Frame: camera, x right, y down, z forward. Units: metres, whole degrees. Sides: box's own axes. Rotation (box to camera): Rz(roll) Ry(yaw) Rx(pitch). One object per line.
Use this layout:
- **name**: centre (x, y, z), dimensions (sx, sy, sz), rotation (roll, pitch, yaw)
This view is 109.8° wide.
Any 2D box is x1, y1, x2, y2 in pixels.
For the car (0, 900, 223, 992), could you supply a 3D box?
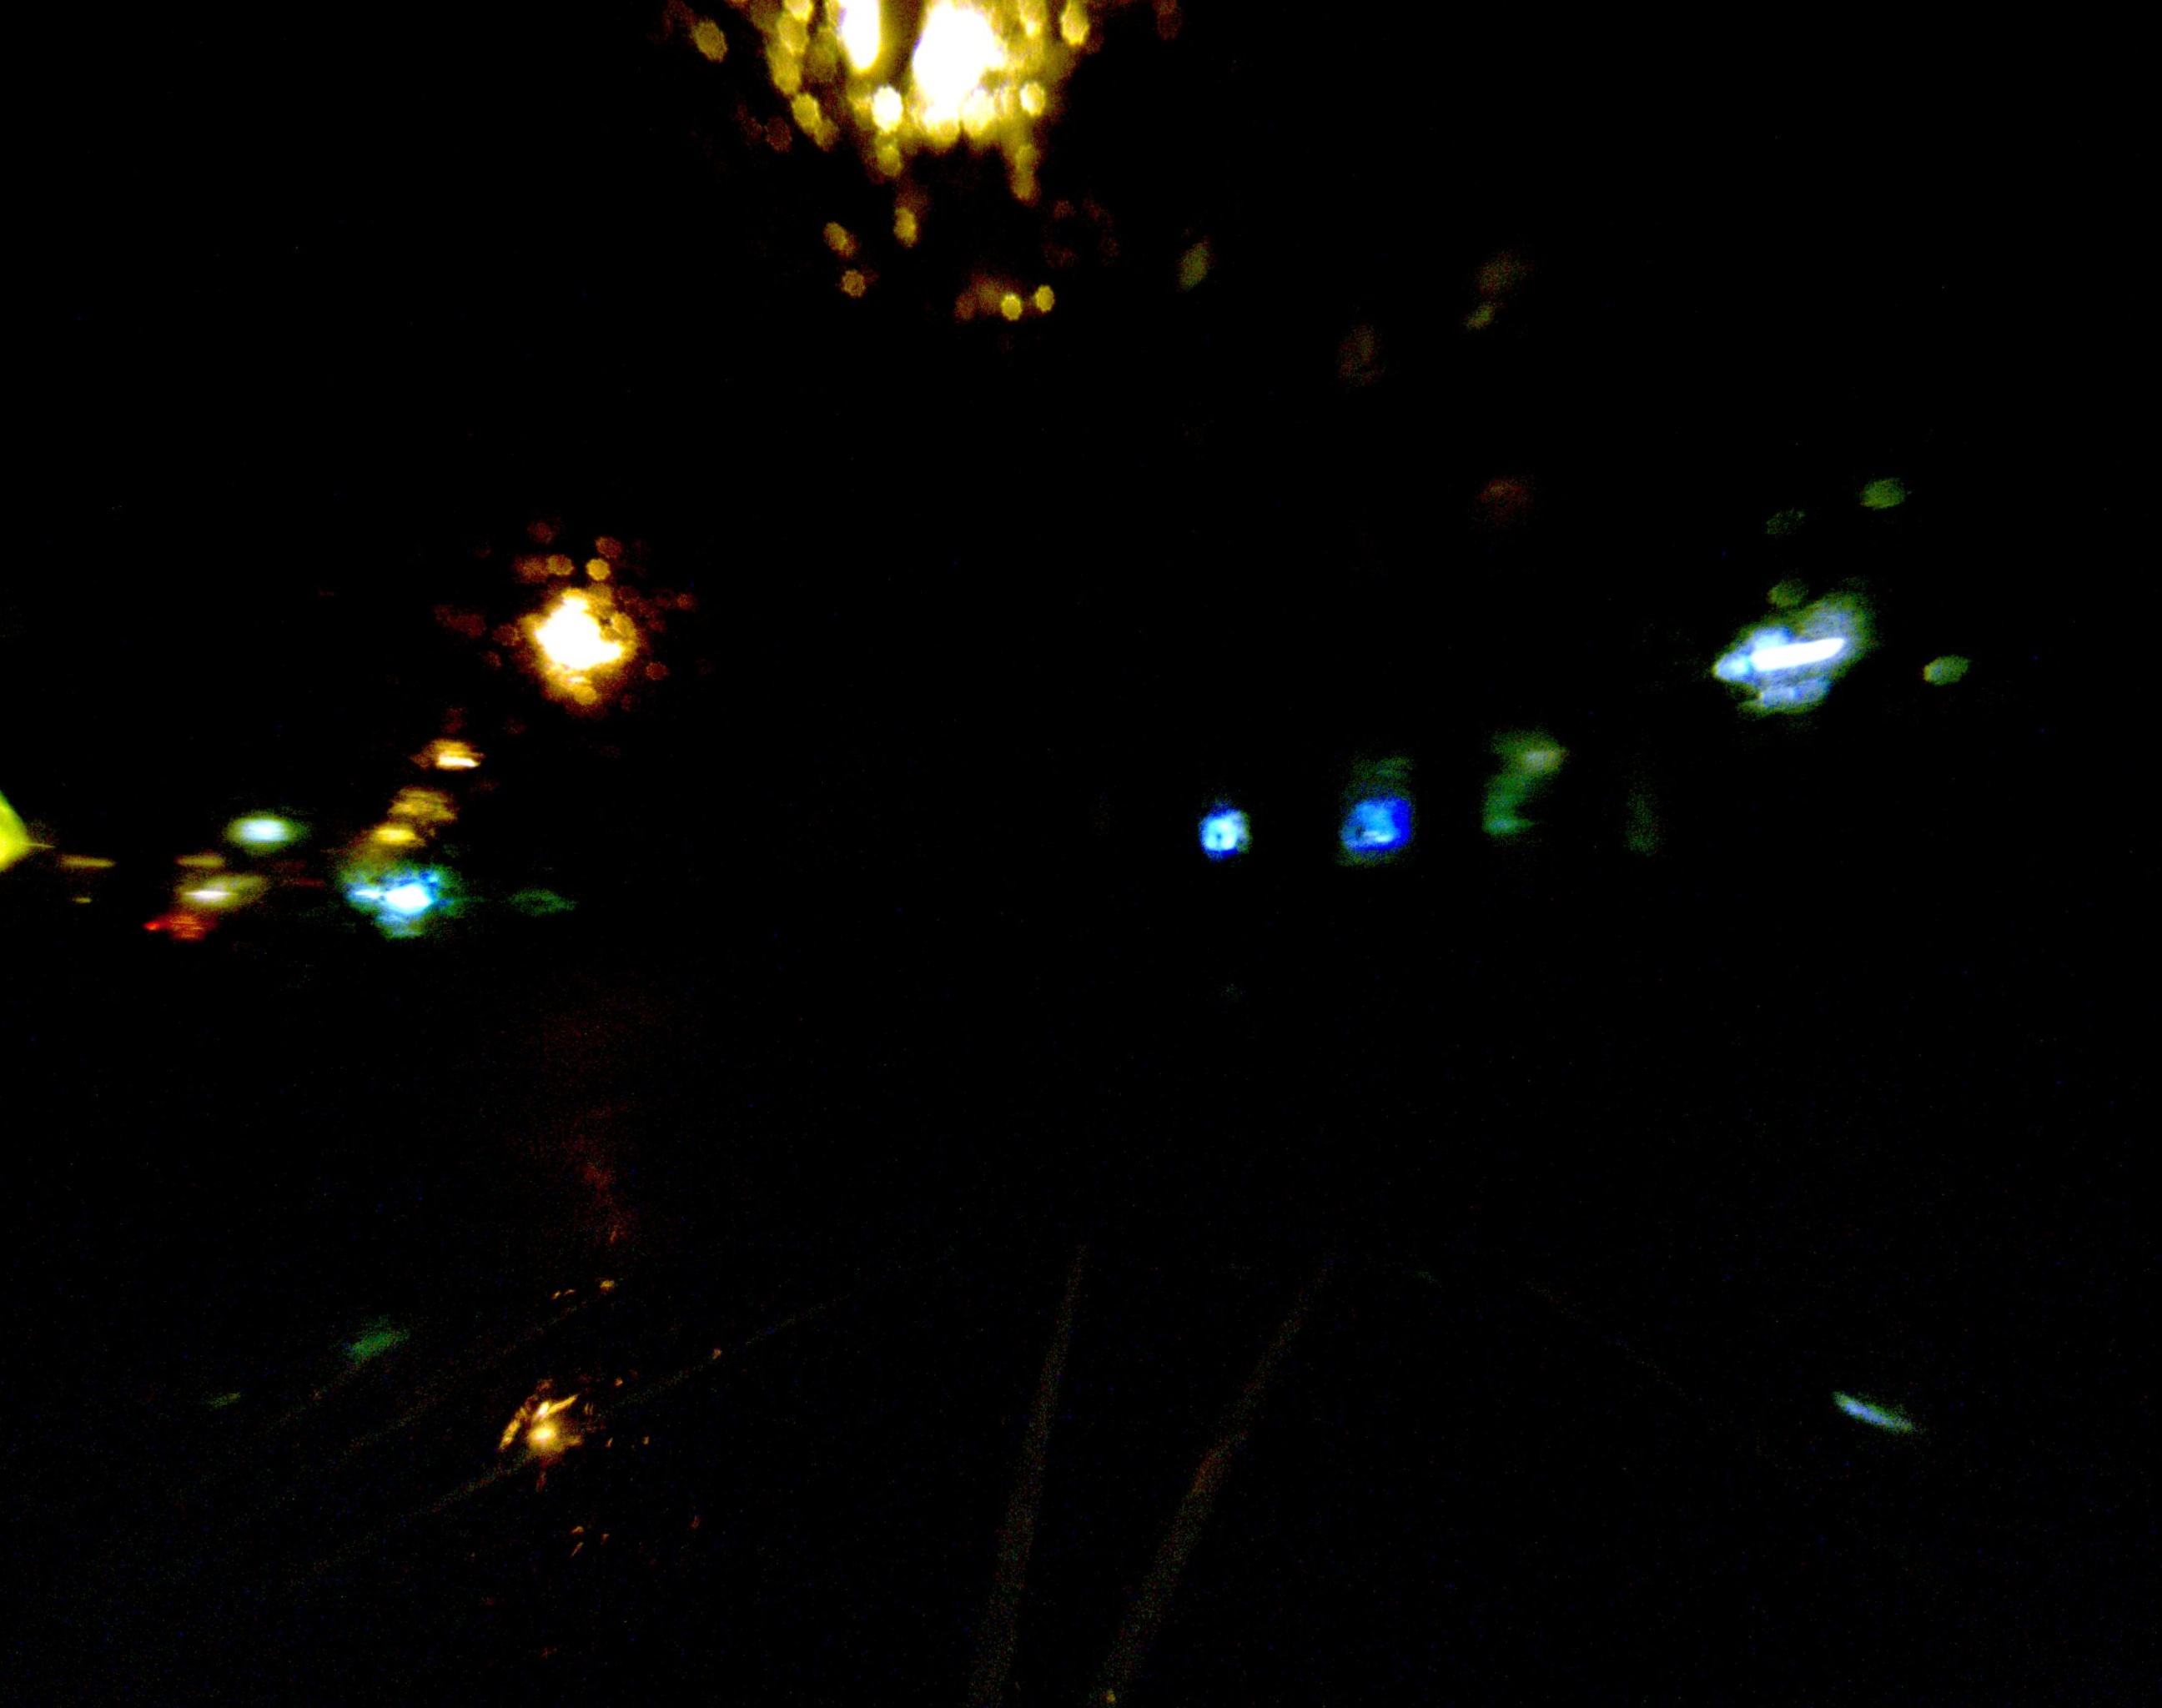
- **car**: centre (-21.022, 1.862, 15.379), dimensions (4.583, 1.608, 1.922), rotation (-1, -1, -39)

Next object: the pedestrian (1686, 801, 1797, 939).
- **pedestrian**: centre (9.252, 0.205, 10.662), dimensions (0.947, 1.810, 0.693), rotation (-4, 3, -8)

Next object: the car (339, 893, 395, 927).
- **car**: centre (-35.732, 2.767, 37.986), dimensions (3.881, 1.489, 1.698), rotation (-3, 0, 42)

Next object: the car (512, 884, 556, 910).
- **car**: centre (-35.147, 2.733, 48.775), dimensions (1.680, 1.482, 3.711), rotation (-5, 2, -44)

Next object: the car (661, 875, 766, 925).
- **car**: centre (-12.700, 1.528, 26.088), dimensions (1.842, 1.477, 4.582), rotation (-3, 1, -44)

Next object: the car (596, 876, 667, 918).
- **car**: centre (-19.430, 1.828, 32.778), dimensions (1.754, 1.579, 3.755), rotation (-3, 1, -44)

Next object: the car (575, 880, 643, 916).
- **car**: centre (-22.619, 2.065, 36.329), dimensions (1.842, 1.472, 4.295), rotation (-3, 1, -44)

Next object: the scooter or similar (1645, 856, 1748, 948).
- **scooter or similar**: centre (8.358, 0.635, 10.333), dimensions (0.932, 1.120, 0.572), rotation (-4, 3, -6)

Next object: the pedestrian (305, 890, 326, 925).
- **pedestrian**: centre (-40.385, 2.828, 40.100), dimensions (0.706, 1.777, 0.622), rotation (-1, -2, -41)

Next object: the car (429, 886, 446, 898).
- **car**: centre (-86.347, 5.054, 101.968), dimensions (1.535, 1.445, 3.375), rotation (-3, 0, -43)

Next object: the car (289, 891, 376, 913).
- **car**: centre (-55.762, 3.543, 56.706), dimensions (4.537, 1.521, 1.775), rotation (2, -3, -44)

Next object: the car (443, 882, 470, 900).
- **car**: centre (-70.041, 4.132, 85.211), dimensions (1.912, 1.819, 4.816), rotation (-3, 0, -43)

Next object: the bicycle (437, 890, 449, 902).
- **bicycle**: centre (-60.785, 3.992, 72.388), dimensions (0.731, 1.066, 2.342), rotation (-2, 0, -44)

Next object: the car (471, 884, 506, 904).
- **car**: centre (-50.891, 3.410, 65.204), dimensions (1.775, 1.475, 4.759), rotation (-8, 3, -43)

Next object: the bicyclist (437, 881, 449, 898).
- **bicyclist**: centre (-60.776, 3.411, 72.381), dimensions (0.722, 1.547, 0.893), rotation (-2, 0, -44)

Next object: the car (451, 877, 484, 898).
- **car**: centre (-59.772, 3.287, 73.967), dimensions (2.006, 1.819, 5.193), rotation (-3, 0, -43)

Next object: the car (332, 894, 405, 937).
- **car**: centre (-28.185, 2.370, 30.018), dimensions (1.927, 1.403, 3.989), rotation (-3, 0, -45)

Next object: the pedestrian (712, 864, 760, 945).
- **pedestrian**: centre (-8.866, 1.282, 19.534), dimensions (0.656, 1.963, 0.771), rotation (-2, 3, 39)

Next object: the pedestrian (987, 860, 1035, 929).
- **pedestrian**: centre (-1.649, 0.945, 17.856), dimensions (0.761, 1.544, 0.659), rotation (-2, 3, 32)

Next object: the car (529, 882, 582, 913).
- **car**: centre (-30.382, 2.486, 43.905), dimensions (1.783, 1.563, 4.123), rotation (-3, 0, -44)

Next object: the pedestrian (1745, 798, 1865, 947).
- **pedestrian**: centre (9.454, 0.216, 9.934), dimensions (0.947, 1.810, 0.693), rotation (-5, 3, -12)

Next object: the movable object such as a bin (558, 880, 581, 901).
- **movable object such as a bin**: centre (-37.686, 2.704, 56.005), dimensions (1.375, 1.445, 1.107), rotation (-2, 0, 44)

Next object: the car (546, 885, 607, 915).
- **car**: centre (-26.527, 2.363, 39.921), dimensions (1.831, 1.381, 4.413), rotation (-3, 0, -44)

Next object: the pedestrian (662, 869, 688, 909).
- **pedestrian**: centre (-19.191, 1.648, 35.925), dimensions (0.746, 1.794, 0.984), rotation (-6, 3, -40)

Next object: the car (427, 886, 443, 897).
- **car**: centre (-90.532, 5.246, 106.494), dimensions (1.701, 1.470, 3.375), rotation (-3, -1, -40)

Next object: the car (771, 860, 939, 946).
- **car**: centre (-5.496, 1.092, 18.100), dimensions (1.842, 1.707, 4.582), rotation (-3, 1, -44)

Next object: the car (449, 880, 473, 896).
- **car**: centre (-63.651, 3.478, 77.992), dimensions (1.577, 1.451, 3.710), rotation (-3, 0, -43)
